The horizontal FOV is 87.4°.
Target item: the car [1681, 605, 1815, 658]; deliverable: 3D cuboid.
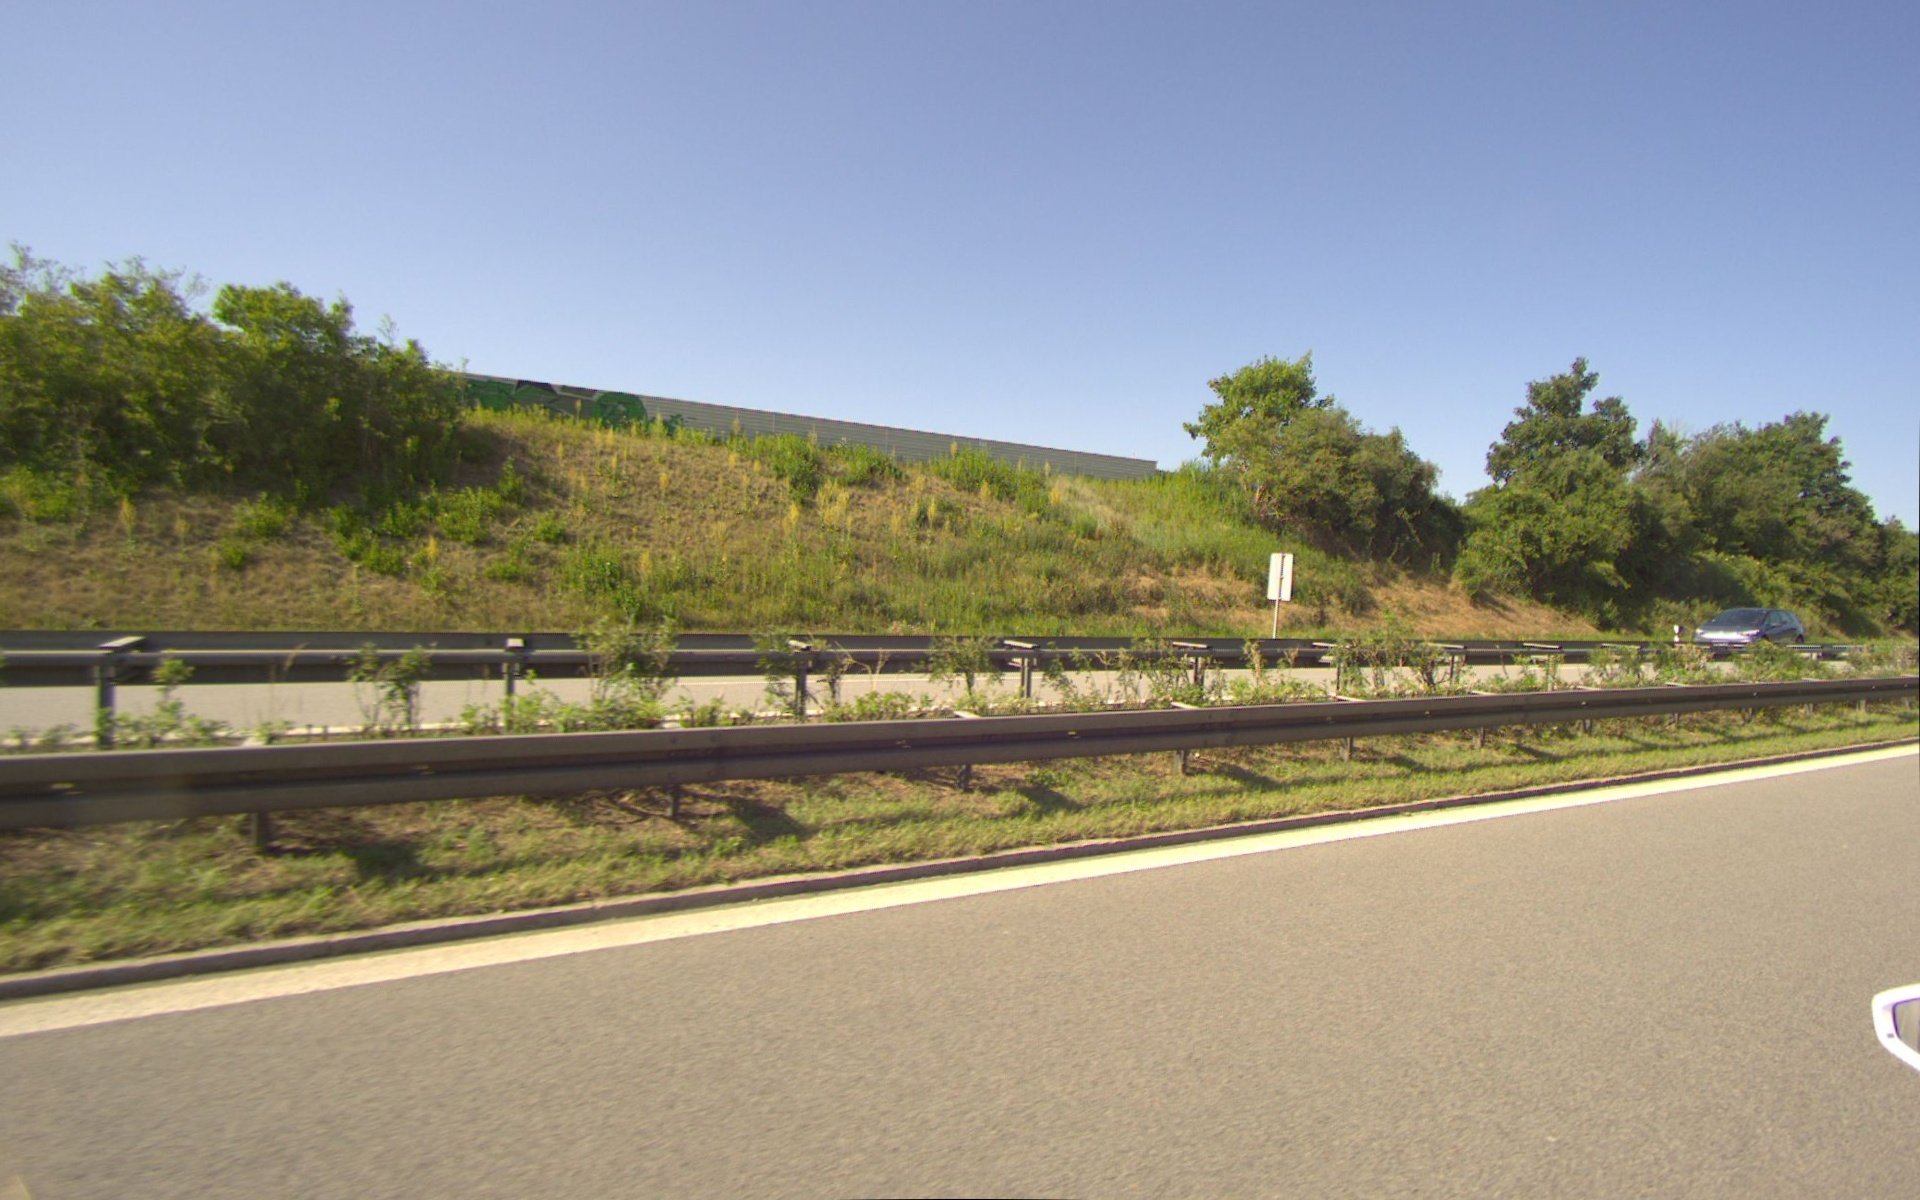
[{"bbox_3d":[24.710,0.978,31.453,4.633,1.500,1.809,2,1,-32],"label":"car"}]
